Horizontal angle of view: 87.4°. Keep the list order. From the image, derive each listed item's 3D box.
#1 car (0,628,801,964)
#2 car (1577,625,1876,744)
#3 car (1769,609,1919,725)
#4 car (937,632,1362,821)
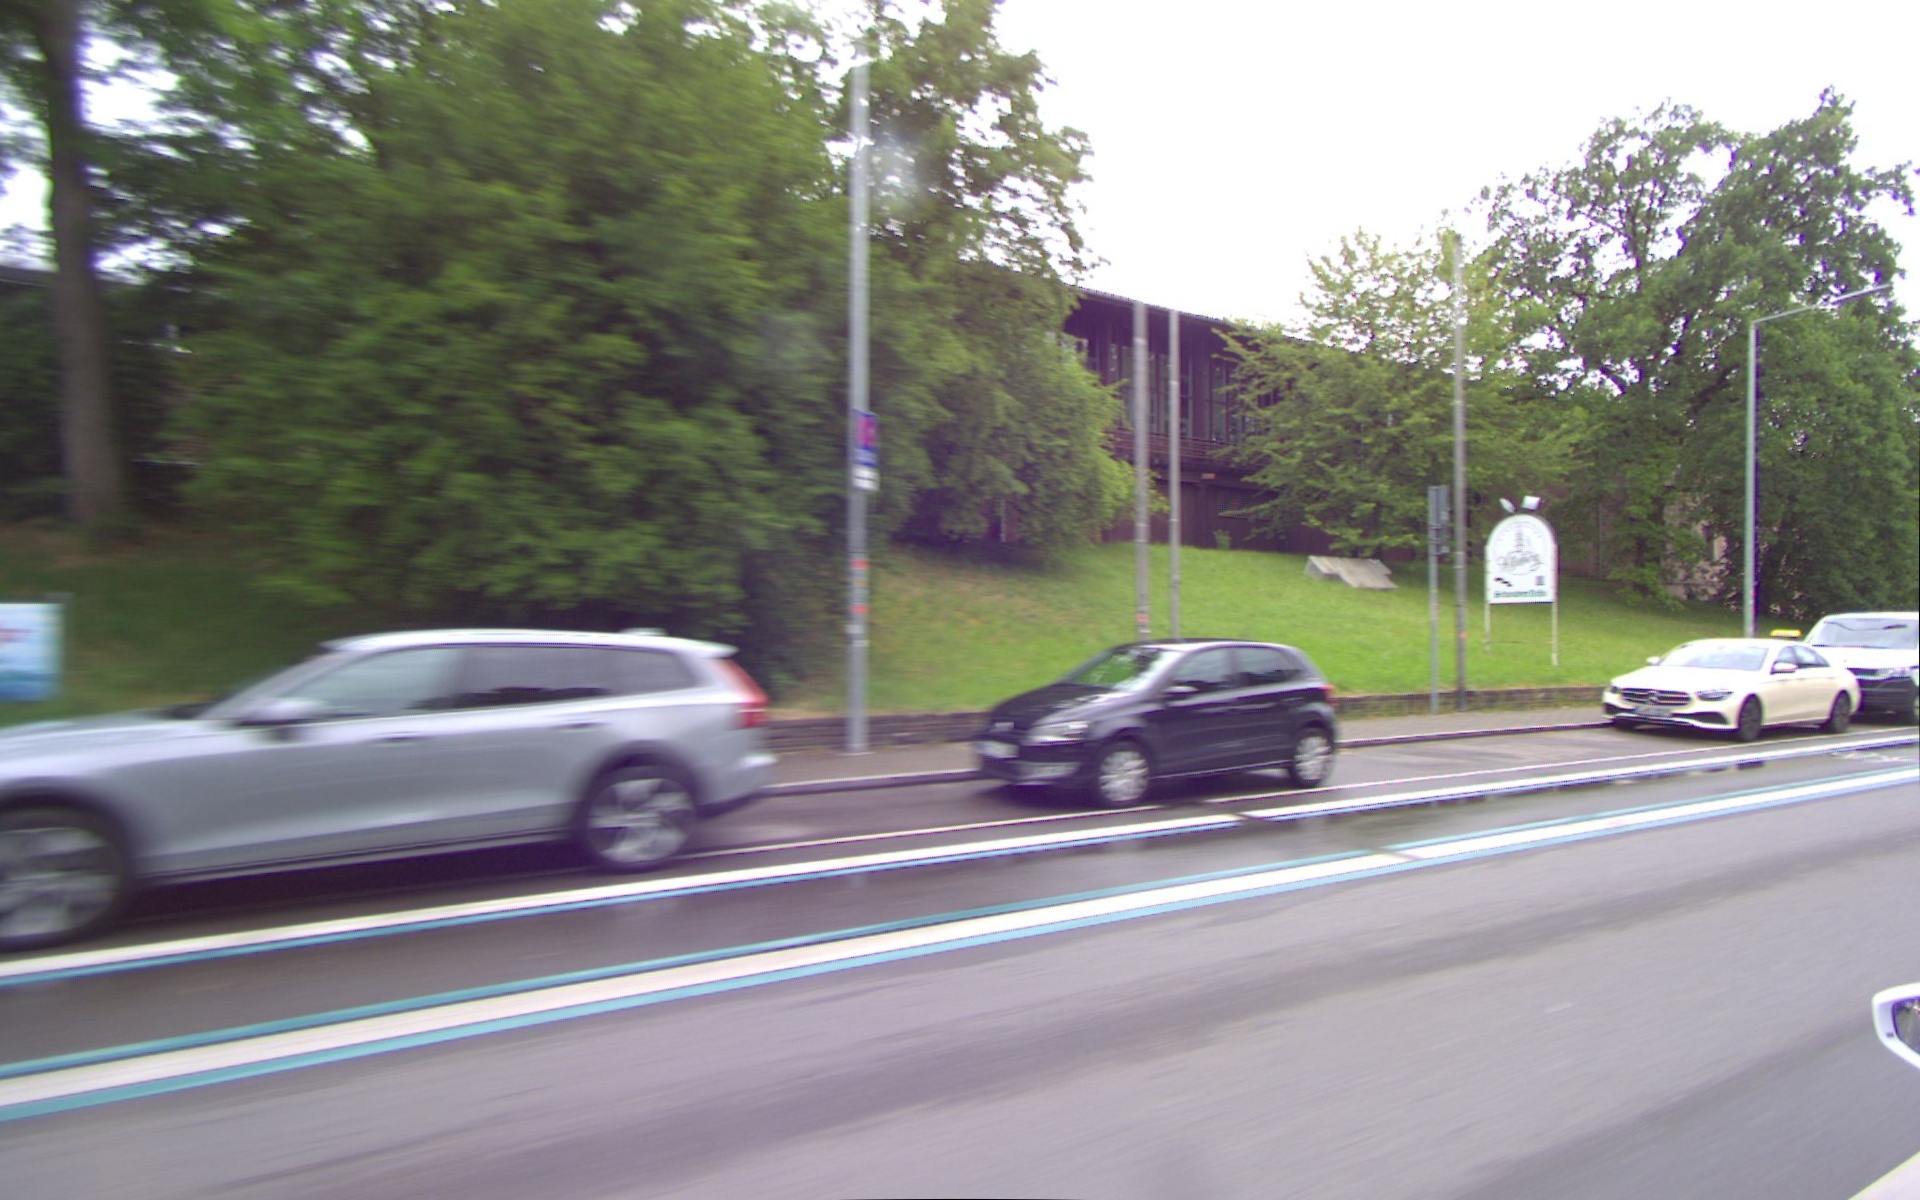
[{"bbox_3d":[-3.559,0.957,6.380,4.621,1.502,2.066,1,-1,-32],"label":"car"},{"bbox_3d":[12.238,1.235,15.979,4.923,1.627,1.982,1,-1,-29],"label":"car"},{"bbox_3d":[17.550,1.158,19.012,4.870,1.957,1.904,0,-1,-31],"label":"car"},{"bbox_3d":[1.917,1.075,9.848,4.007,1.456,1.687,0,-1,-31],"label":"car"}]
